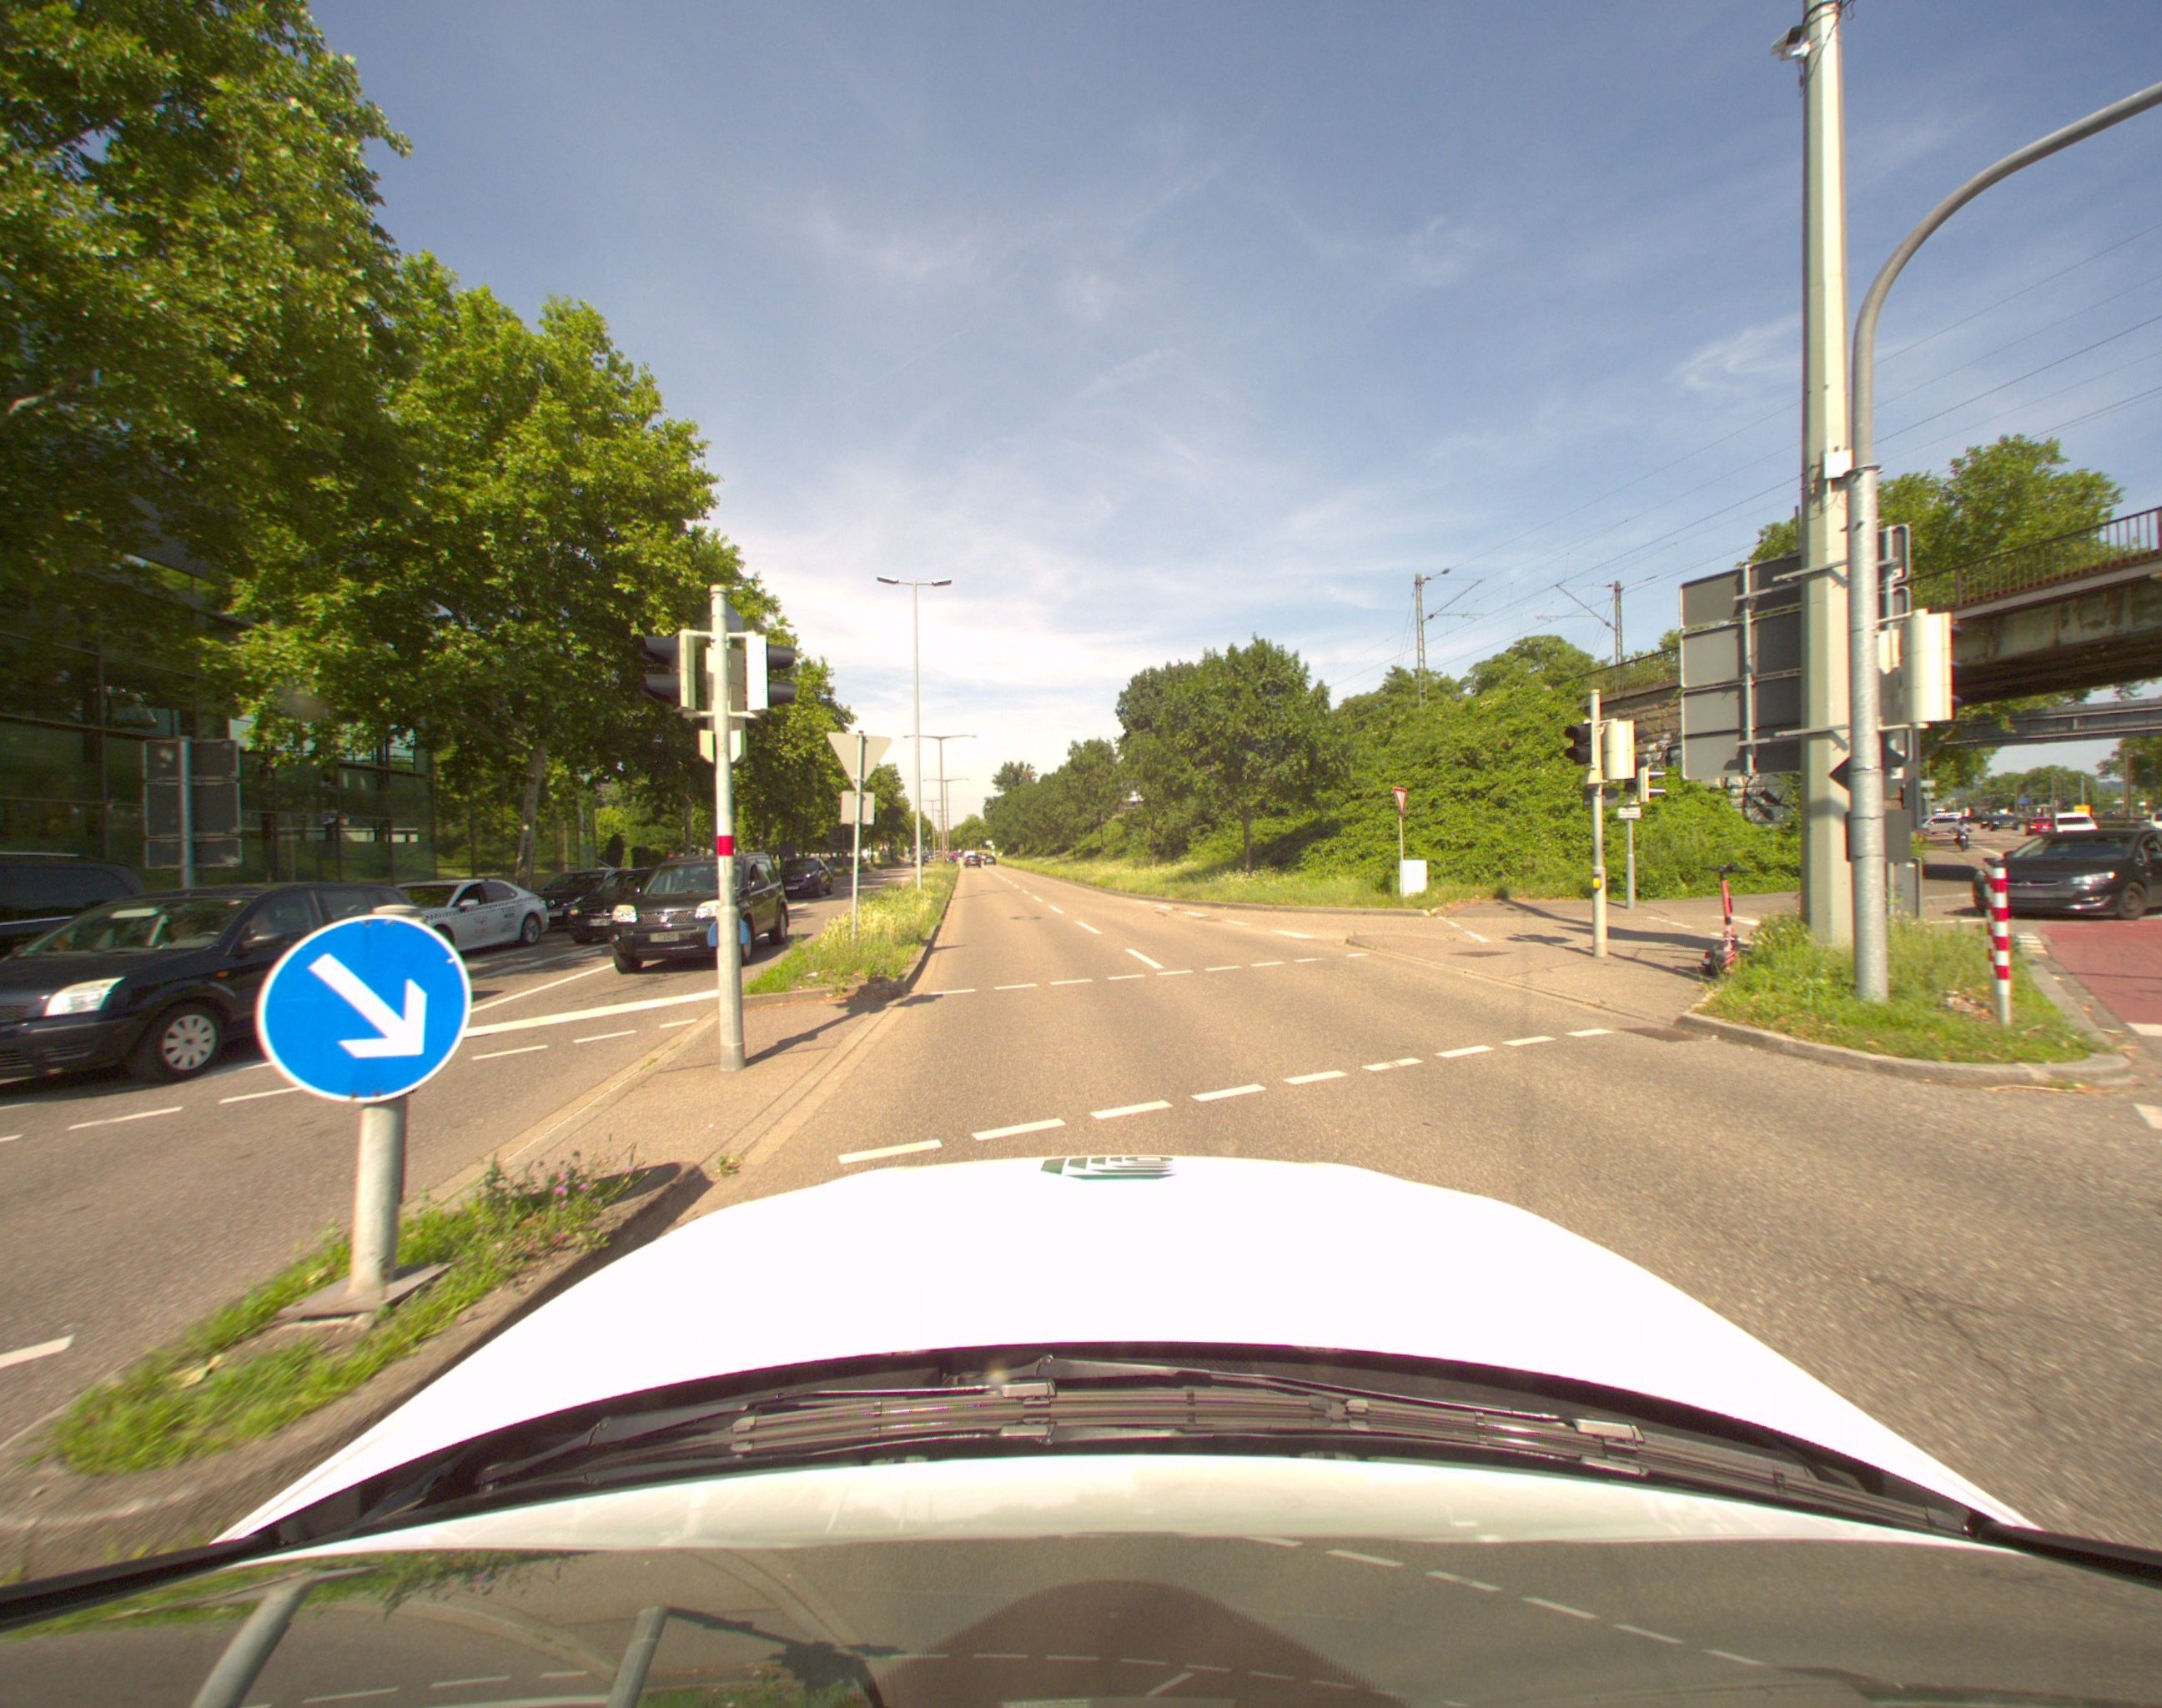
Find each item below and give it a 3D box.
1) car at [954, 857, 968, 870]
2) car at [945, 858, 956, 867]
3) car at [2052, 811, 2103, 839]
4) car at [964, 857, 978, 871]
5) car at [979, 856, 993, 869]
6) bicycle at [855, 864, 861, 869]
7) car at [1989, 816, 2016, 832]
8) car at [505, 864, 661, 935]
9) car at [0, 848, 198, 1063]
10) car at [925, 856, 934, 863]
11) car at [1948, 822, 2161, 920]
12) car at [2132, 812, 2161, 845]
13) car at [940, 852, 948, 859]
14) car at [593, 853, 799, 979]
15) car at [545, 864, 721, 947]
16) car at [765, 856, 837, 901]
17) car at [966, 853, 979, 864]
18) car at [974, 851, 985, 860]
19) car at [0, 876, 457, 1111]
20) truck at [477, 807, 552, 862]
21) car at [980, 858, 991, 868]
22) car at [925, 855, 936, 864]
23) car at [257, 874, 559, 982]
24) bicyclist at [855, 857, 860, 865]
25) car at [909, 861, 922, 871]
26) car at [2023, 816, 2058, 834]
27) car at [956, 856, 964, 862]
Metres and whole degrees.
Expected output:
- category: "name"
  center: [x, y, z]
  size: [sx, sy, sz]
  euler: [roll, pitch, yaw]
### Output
- category: "car"
  center: [-17.551, 1.392, 118.958]
  size: [1.993, 1.684, 3.988]
  euler: [-1, 0, -9]
- category: "car"
  center: [-20.980, 1.344, 131.200]
  size: [1.626, 1.483, 4.036]
  euler: [0, 0, -9]
- category: "car"
  center: [64.432, -1.843, 52.697]
  size: [4.023, 1.717, 1.781]
  euler: [-2, 0, -43]
- category: "car"
  center: [-13.505, 1.178, 99.859]
  size: [1.736, 1.535, 3.989]
  euler: [-1, 2, -8]
- category: "car"
  center: [-14.650, 1.302, 125.340]
  size: [2.017, 1.837, 3.989]
  euler: [-1, 2, -8]
- category: "bicycle"
  center: [-41.326, 2.237, 150.876]
  size: [0.689, 0.866, 1.920]
  euler: [-2, 0, -8]
- category: "car"
  center: [106.909, -3.449, 94.507]
  size: [4.342, 1.778, 1.976]
  euler: [-2, 0, -43]
- category: "car"
  center: [-13.244, 1.122, 22.012]
  size: [1.886, 1.590, 4.433]
  euler: [-3, 0, -8]
- category: "car"
  center: [-10.624, 0.960, 6.503]
  size: [1.937, 1.919, 5.213]
  euler: [-1, 1, -9]
- category: "car"
  center: [-35.171, 1.270, 189.470]
  size: [1.839, 1.478, 4.153]
  euler: [-2, 0, -9]
- category: "car"
  center: [17.638, 0.235, 14.204]
  size: [4.213, 1.506, 1.817]
  euler: [-1, 0, -18]
- category: "car"
  center: [62.758, -1.481, 47.081]
  size: [4.344, 1.831, 1.976]
  euler: [-2, 0, -43]
- category: "car"
  center: [-38.947, 0.527, 231.468]
  size: [1.992, 1.860, 3.990]
  euler: [-2, 0, -7]
- category: "car"
  center: [-5.939, 0.820, 13.205]
  size: [1.807, 1.615, 4.476]
  euler: [-2, 0, -10]
- category: "car"
  center: [-9.697, 1.020, 18.094]
  size: [1.835, 1.462, 4.504]
  euler: [-4, 0, -8]
- category: "car"
  center: [-11.519, 0.956, 33.852]
  size: [1.993, 1.610, 4.482]
  euler: [-2, 1, -9]
- category: "car"
  center: [-18.179, 0.782, 136.273]
  size: [1.992, 1.708, 4.251]
  euler: [-2, 0, -8]
- category: "car"
  center: [-22.917, 0.336, 183.898]
  size: [1.995, 2.013, 3.983]
  euler: [-1, 0, -12]
- category: "car"
  center: [-7.954, 1.029, 7.514]
  size: [1.761, 1.475, 3.946]
  euler: [-2, 0, -9]
- category: "truck"
  center: [-39.450, -1.246, 56.575]
  size: [2.689, 3.395, 8.877]
  euler: [-1, 0, -45]
- category: "car"
  center: [-18.604, 1.751, 158.626]
  size: [1.993, 1.708, 4.251]
  euler: [-2, 0, -8]
- category: "car"
  center: [-27.202, 0.936, 147.250]
  size: [1.771, 1.467, 4.658]
  euler: [-2, 0, -8]
- category: "car"
  center: [-11.989, 1.194, 15.088]
  size: [1.890, 1.449, 4.990]
  euler: [-3, 0, -8]
- category: "bicyclist"
  center: [-41.358, 1.245, 150.831]
  size: [0.681, 1.485, 0.939]
  euler: [-2, 0, -9]
- category: "car"
  center: [-25.278, 1.856, 124.702]
  size: [1.827, 1.467, 4.971]
  euler: [-2, 0, -10]
- category: "car"
  center: [80.426, -2.439, 68.282]
  size: [4.023, 1.423, 1.674]
  euler: [-3, 3, -43]
- category: "car"
  center: [-31.512, 1.322, 211.671]
  size: [1.993, 1.662, 4.235]
  euler: [-2, 0, -8]
